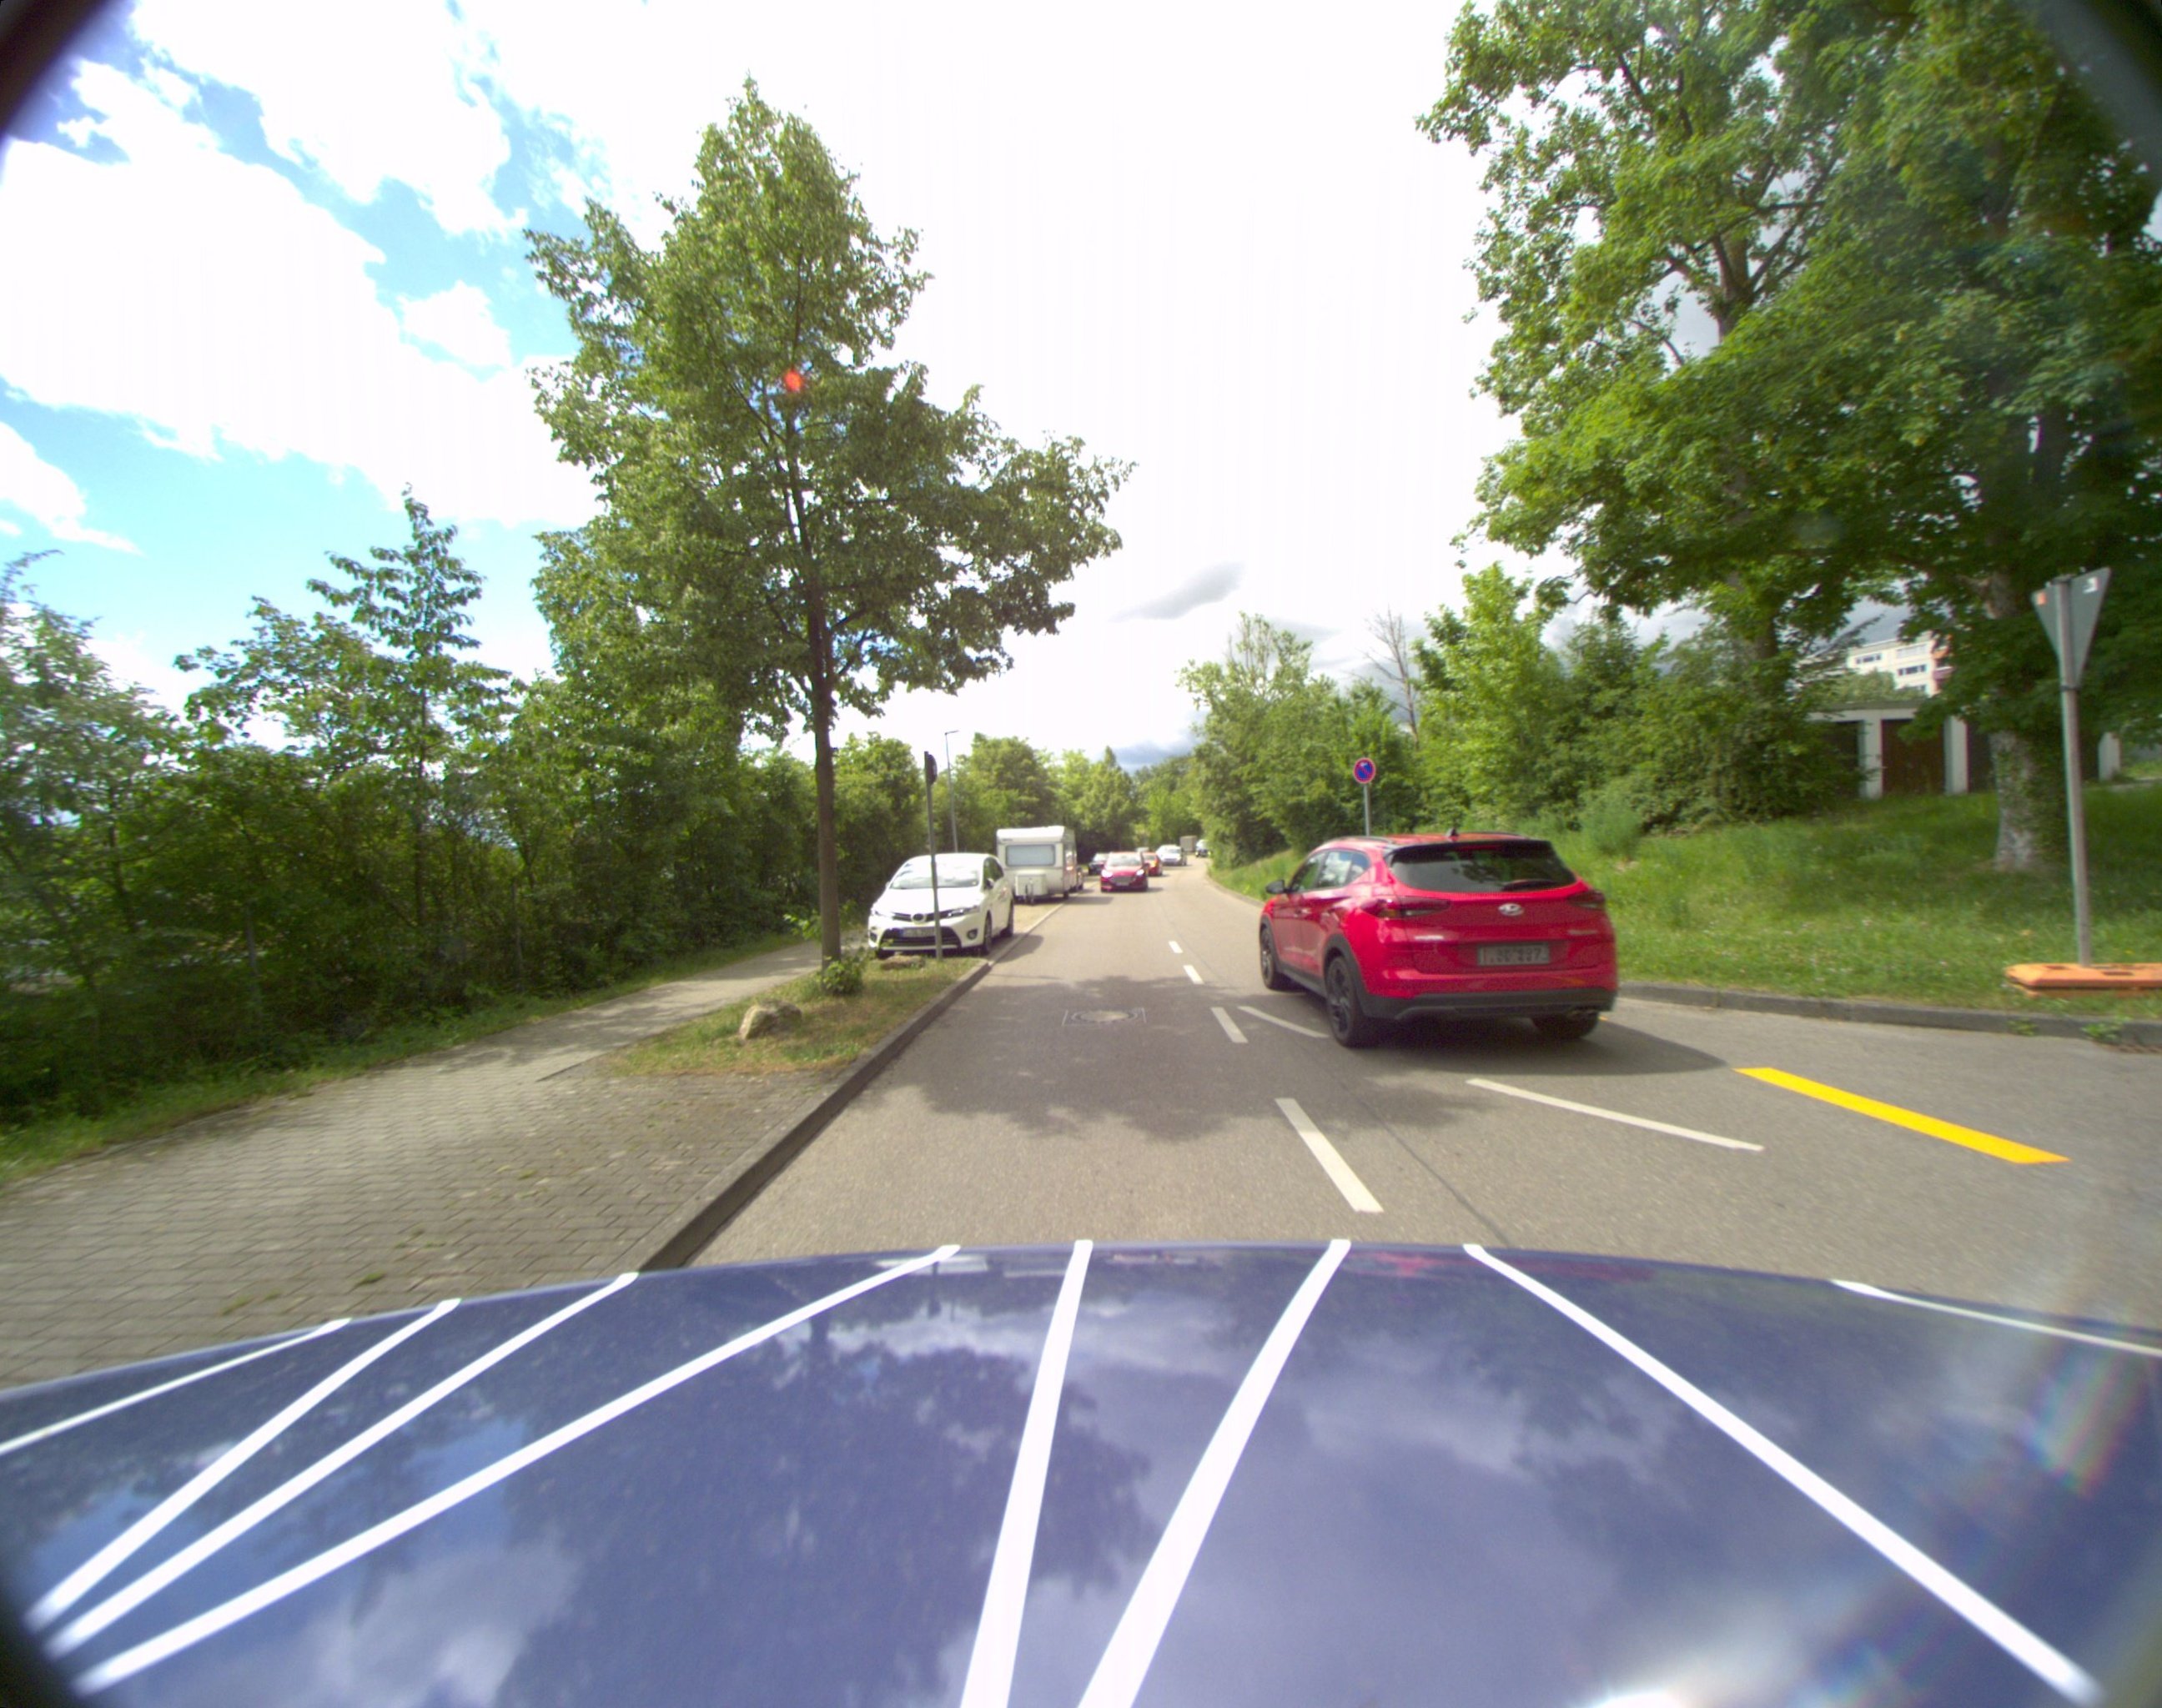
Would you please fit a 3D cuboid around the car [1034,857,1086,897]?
[{"bbox_3d":[-0.815,0.920,32.278,1.685,1.442,4.481,-3,1,4],"label":"car"}]

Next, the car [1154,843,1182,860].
[{"bbox_3d":[8.967,-0.281,78.100,1.865,1.469,4.907,0,2,19],"label":"car"}]

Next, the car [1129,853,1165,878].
[{"bbox_3d":[4.185,0.686,47.658,1.794,1.405,4.115,-1,1,10],"label":"car"}]

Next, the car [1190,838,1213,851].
[{"bbox_3d":[14.568,-1.144,91.794,1.707,1.469,3.788,0,3,27],"label":"car"}]

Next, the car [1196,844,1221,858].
[{"bbox_3d":[13.621,-0.339,81.017,1.793,1.500,4.119,1,1,23],"label":"car"}]

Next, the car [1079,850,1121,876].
[{"bbox_3d":[1.308,0.575,49.557,1.896,1.521,4.550,-3,0,12],"label":"car"}]

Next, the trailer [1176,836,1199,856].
[{"bbox_3d":[12.091,-0.969,86.298,1.731,2.067,3.787,0,3,22],"label":"trailer"}]

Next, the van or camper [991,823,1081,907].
[{"bbox_3d":[-1.404,0.315,26.217,2.360,2.539,5.075,-2,1,4],"label":"van or camper"}]

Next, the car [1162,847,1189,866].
[{"bbox_3d":[8.025,0.187,64.228,1.794,1.500,4.116,0,2,15],"label":"car"}]

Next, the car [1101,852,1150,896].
[{"bbox_3d":[1.969,0.772,32.331,1.911,1.689,4.388,-1,1,5],"label":"car"}]

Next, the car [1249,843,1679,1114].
[{"bbox_3d":[2.896,0.797,6.938,1.847,1.649,4.222,-3,0,2],"label":"car"}]

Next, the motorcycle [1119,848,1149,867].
[{"bbox_3d":[4.422,0.276,63.383,2.306,1.468,0.977,1,3,41],"label":"motorcycle"}]

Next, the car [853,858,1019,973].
[{"bbox_3d":[-2.271,0.897,13.138,1.809,1.590,4.372,-2,0,2],"label":"car"}]
